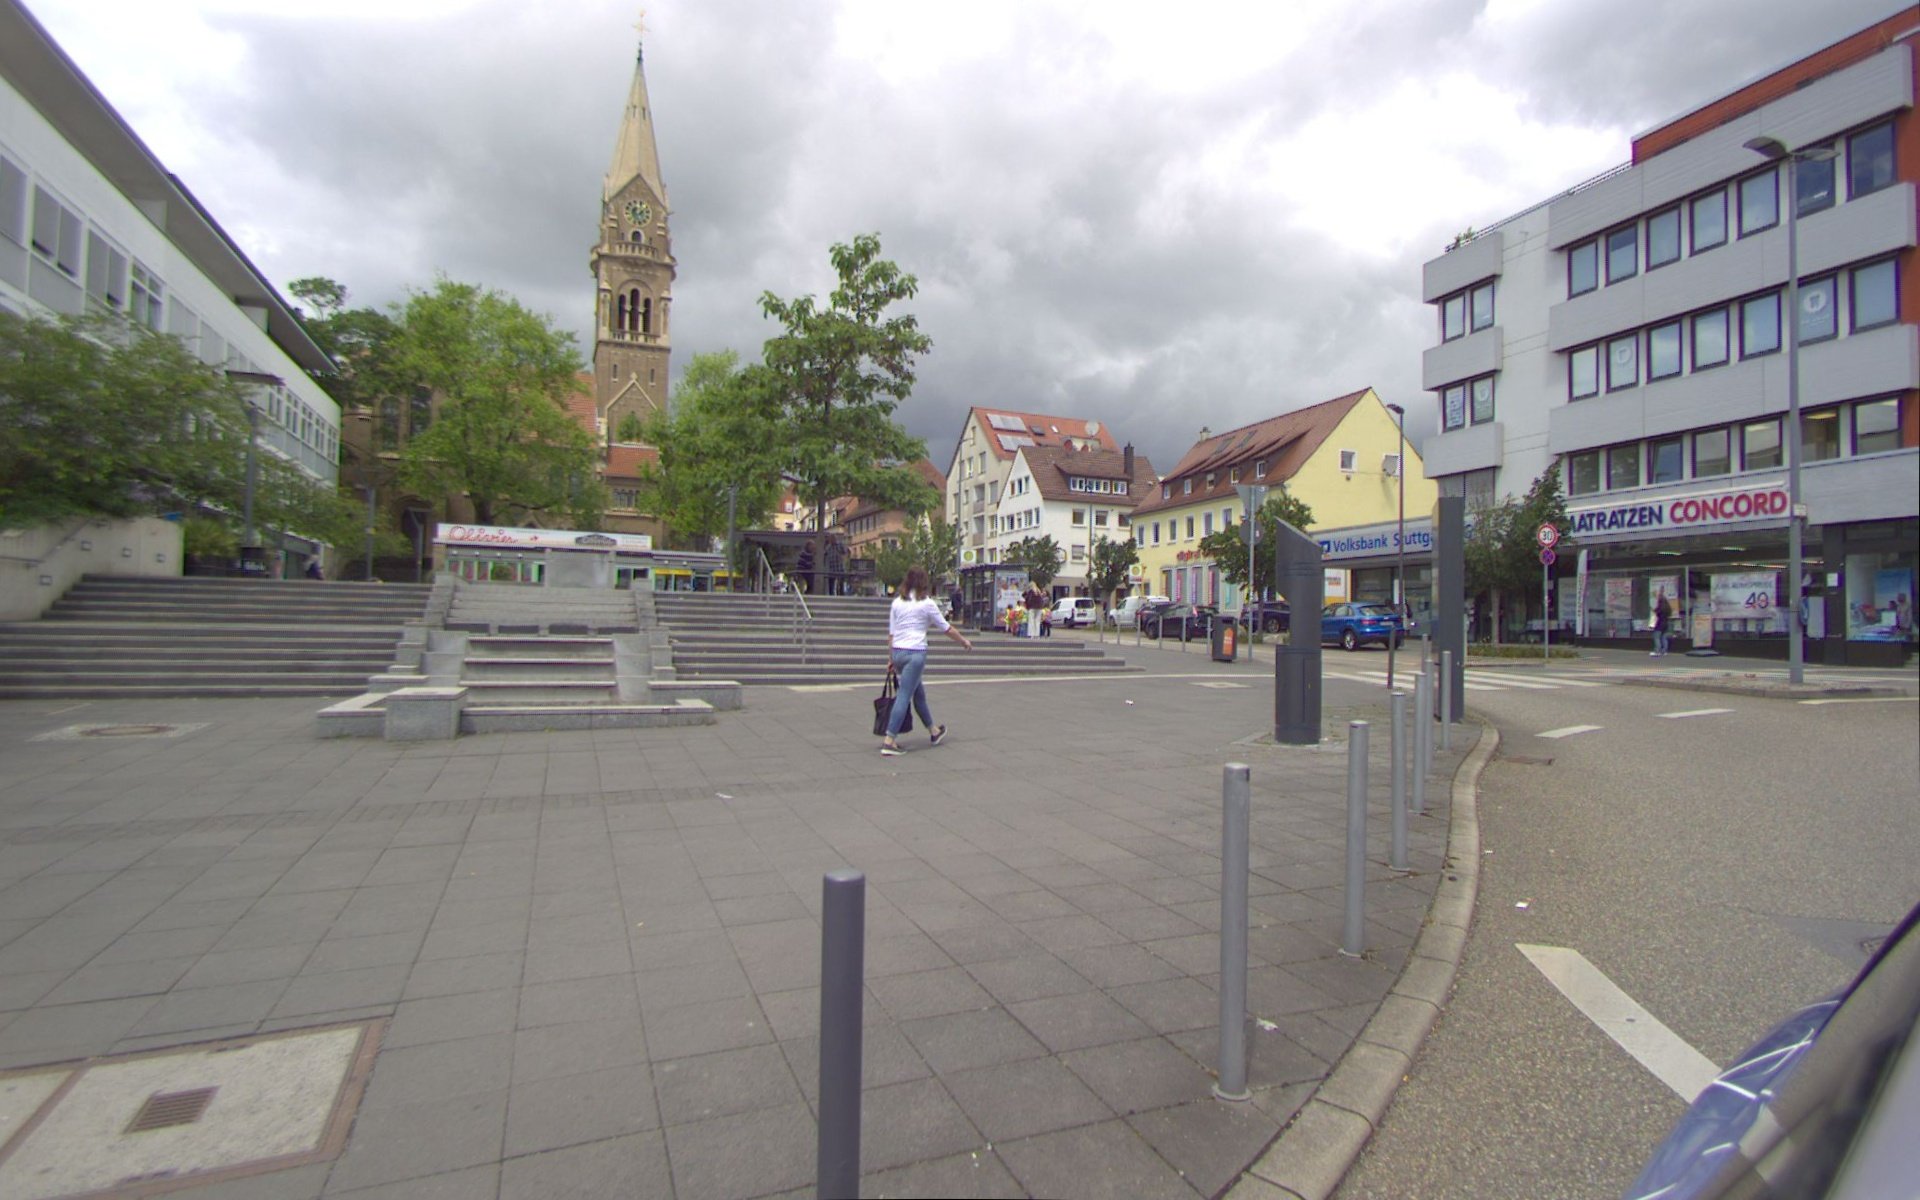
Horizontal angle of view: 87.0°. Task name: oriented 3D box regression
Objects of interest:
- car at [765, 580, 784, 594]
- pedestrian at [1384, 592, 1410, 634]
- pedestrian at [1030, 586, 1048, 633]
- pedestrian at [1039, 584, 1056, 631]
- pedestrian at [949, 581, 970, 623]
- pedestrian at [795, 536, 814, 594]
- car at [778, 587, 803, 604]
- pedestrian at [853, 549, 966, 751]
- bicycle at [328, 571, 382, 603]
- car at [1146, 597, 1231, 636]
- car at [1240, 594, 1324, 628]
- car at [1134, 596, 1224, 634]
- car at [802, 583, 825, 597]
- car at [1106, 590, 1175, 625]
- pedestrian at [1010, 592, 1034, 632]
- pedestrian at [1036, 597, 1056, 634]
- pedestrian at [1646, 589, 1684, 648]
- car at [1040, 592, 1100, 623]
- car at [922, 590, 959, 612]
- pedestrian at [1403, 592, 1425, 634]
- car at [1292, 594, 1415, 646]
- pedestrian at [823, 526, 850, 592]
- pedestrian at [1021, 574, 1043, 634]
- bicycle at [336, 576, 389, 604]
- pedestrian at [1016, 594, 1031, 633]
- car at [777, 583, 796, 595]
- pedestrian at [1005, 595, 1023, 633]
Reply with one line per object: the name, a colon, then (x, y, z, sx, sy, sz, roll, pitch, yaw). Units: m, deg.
car: (-25.181, -1.777, 137.126, 1.697, 1.700, 4.001, 1, 2, -22)
pedestrian: (16.825, 0.500, 38.959, 0.631, 1.586, 0.588, 2, -1, -17)
pedestrian: (2.590, 0.320, 33.317, 0.382, 1.536, 0.390, 3, -1, -22)
pedestrian: (3.113, 0.257, 35.940, 0.384, 1.640, 0.465, 2, -1, 23)
pedestrian: (-0.015, 0.075, 40.857, 0.785, 1.658, 0.687, 1, -1, -2)
pedestrian: (-3.618, -0.807, 23.537, 0.356, 1.302, 0.642, 2, -2, -12)
car: (-15.405, -0.433, 91.883, 1.491, 1.449, 3.511, 1, 2, -22)
pedestrian: (-0.468, 0.437, 9.391, 0.764, 1.768, 0.705, 1, -1, -45)
bicycle: (-27.868, -0.592, 46.639, 0.685, 1.324, 1.997, 1, -3, 40)
car: (8.946, 0.611, 39.961, 1.668, 1.437, 4.127, 0, 1, -12)
car: (15.684, 0.522, 49.348, 3.562, 1.578, 1.672, 0, 0, -18)
car: (9.919, 0.665, 46.037, 3.667, 1.543, 1.895, 1, 2, 3)
car: (-17.088, -1.166, 117.623, 1.635, 1.545, 3.972, -1, 2, -24)
car: (9.772, 0.358, 55.220, 1.725, 1.836, 4.486, 0, 1, -19)
pedestrian: (2.126, 0.421, 34.657, 0.597, 1.320, 0.427, 3, -1, 40)
pedestrian: (2.768, 0.501, 32.648, 0.466, 1.187, 0.391, 3, -1, -14)
pedestrian: (19.481, 0.492, 27.977, 0.576, 1.608, 0.640, 0, 0, -20)
car: (6.150, 0.385, 57.170, 1.627, 1.693, 4.359, 0, 0, -20)
car: (-1.574, 0.047, 80.082, 1.636, 1.667, 4.142, 0, 1, -19)
pedestrian: (17.603, 0.513, 39.257, 0.501, 1.586, 0.588, 2, -1, -16)
car: (13.378, 0.624, 34.699, 1.664, 1.619, 4.340, -2, 1, -14)
pedestrian: (-2.929, -0.957, 23.943, 0.493, 1.528, 0.455, 2, -2, -21)
pedestrian: (2.275, 0.128, 32.056, 0.530, 1.846, 0.436, 3, -1, -8)
bicycle: (-28.327, -0.456, 48.011, 0.685, 1.157, 1.997, 1, -3, 40)
pedestrian: (2.039, 0.427, 32.600, 0.384, 1.214, 0.509, 3, -1, 9)
car: (-22.296, -1.427, 130.160, 1.697, 1.449, 3.511, 1, 2, -22)
pedestrian: (1.702, 0.443, 31.948, 0.431, 1.163, 0.383, 3, -1, -7)
